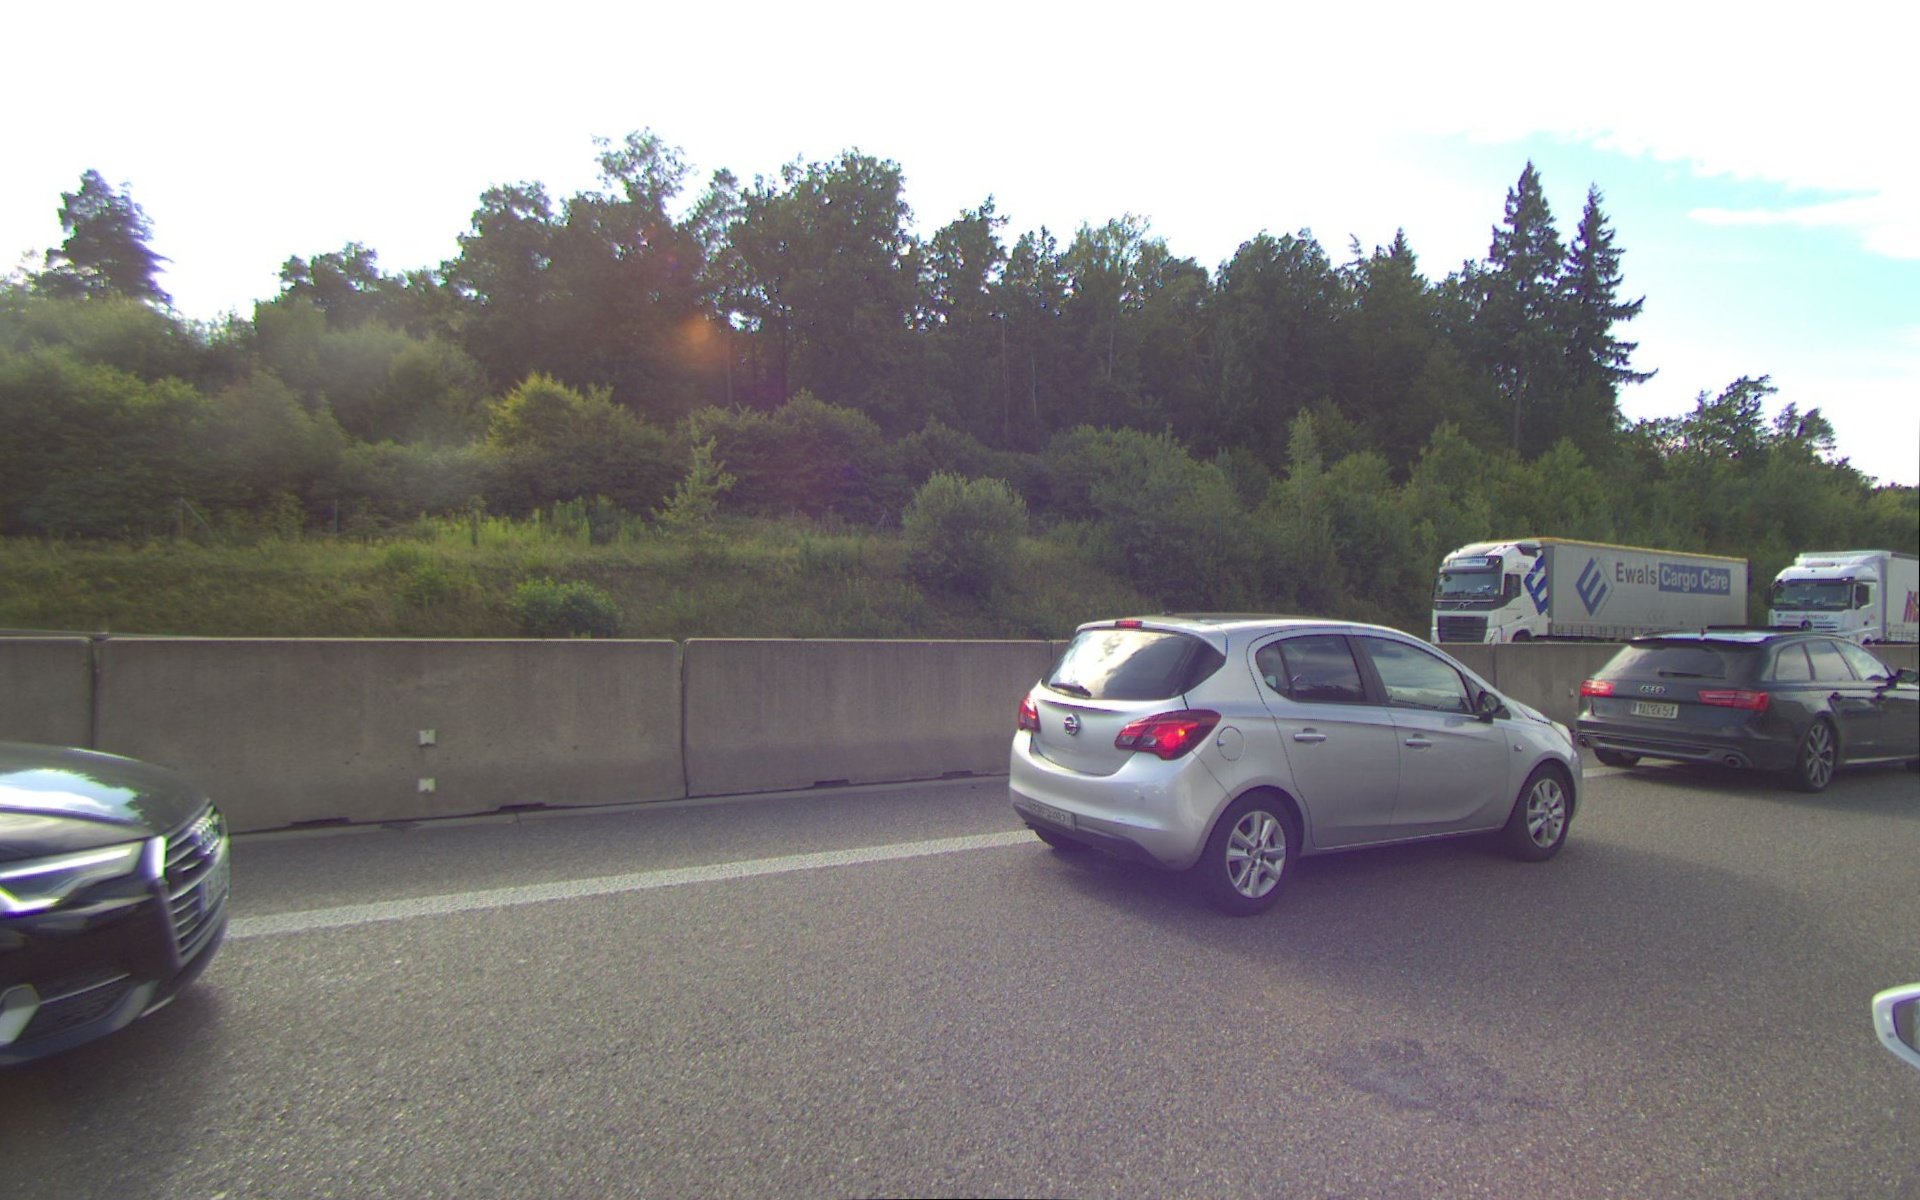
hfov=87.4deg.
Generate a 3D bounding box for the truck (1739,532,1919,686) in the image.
[{"bbox_3d":[32.063,0.390,36.800,7.058,5.169,3.073,2,0,-30],"label":"truck"}]

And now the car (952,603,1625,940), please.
[{"bbox_3d":[2.111,0.800,6.192,3.993,1.485,1.739,1,-1,-30],"label":"car"}]

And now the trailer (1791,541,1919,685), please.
[{"bbox_3d":[38.559,0.679,40.673,13.676,5.141,3.073,2,0,-31],"label":"trailer"}]

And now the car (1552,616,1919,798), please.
[{"bbox_3d":[8.381,0.961,10.356,4.691,1.475,1.834,1,0,-30],"label":"car"}]

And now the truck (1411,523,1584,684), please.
[{"bbox_3d":[17.775,0.160,33.217,4.710,4.923,2.917,2,0,-30],"label":"truck"}]

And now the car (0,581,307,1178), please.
[{"bbox_3d":[-4.518,0.646,2.388,4.793,1.491,1.874,2,0,-29],"label":"car"}]

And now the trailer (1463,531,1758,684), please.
[{"bbox_3d":[24.405,0.474,37.116,14.483,4.894,2.912,2,0,-31],"label":"trailer"}]
